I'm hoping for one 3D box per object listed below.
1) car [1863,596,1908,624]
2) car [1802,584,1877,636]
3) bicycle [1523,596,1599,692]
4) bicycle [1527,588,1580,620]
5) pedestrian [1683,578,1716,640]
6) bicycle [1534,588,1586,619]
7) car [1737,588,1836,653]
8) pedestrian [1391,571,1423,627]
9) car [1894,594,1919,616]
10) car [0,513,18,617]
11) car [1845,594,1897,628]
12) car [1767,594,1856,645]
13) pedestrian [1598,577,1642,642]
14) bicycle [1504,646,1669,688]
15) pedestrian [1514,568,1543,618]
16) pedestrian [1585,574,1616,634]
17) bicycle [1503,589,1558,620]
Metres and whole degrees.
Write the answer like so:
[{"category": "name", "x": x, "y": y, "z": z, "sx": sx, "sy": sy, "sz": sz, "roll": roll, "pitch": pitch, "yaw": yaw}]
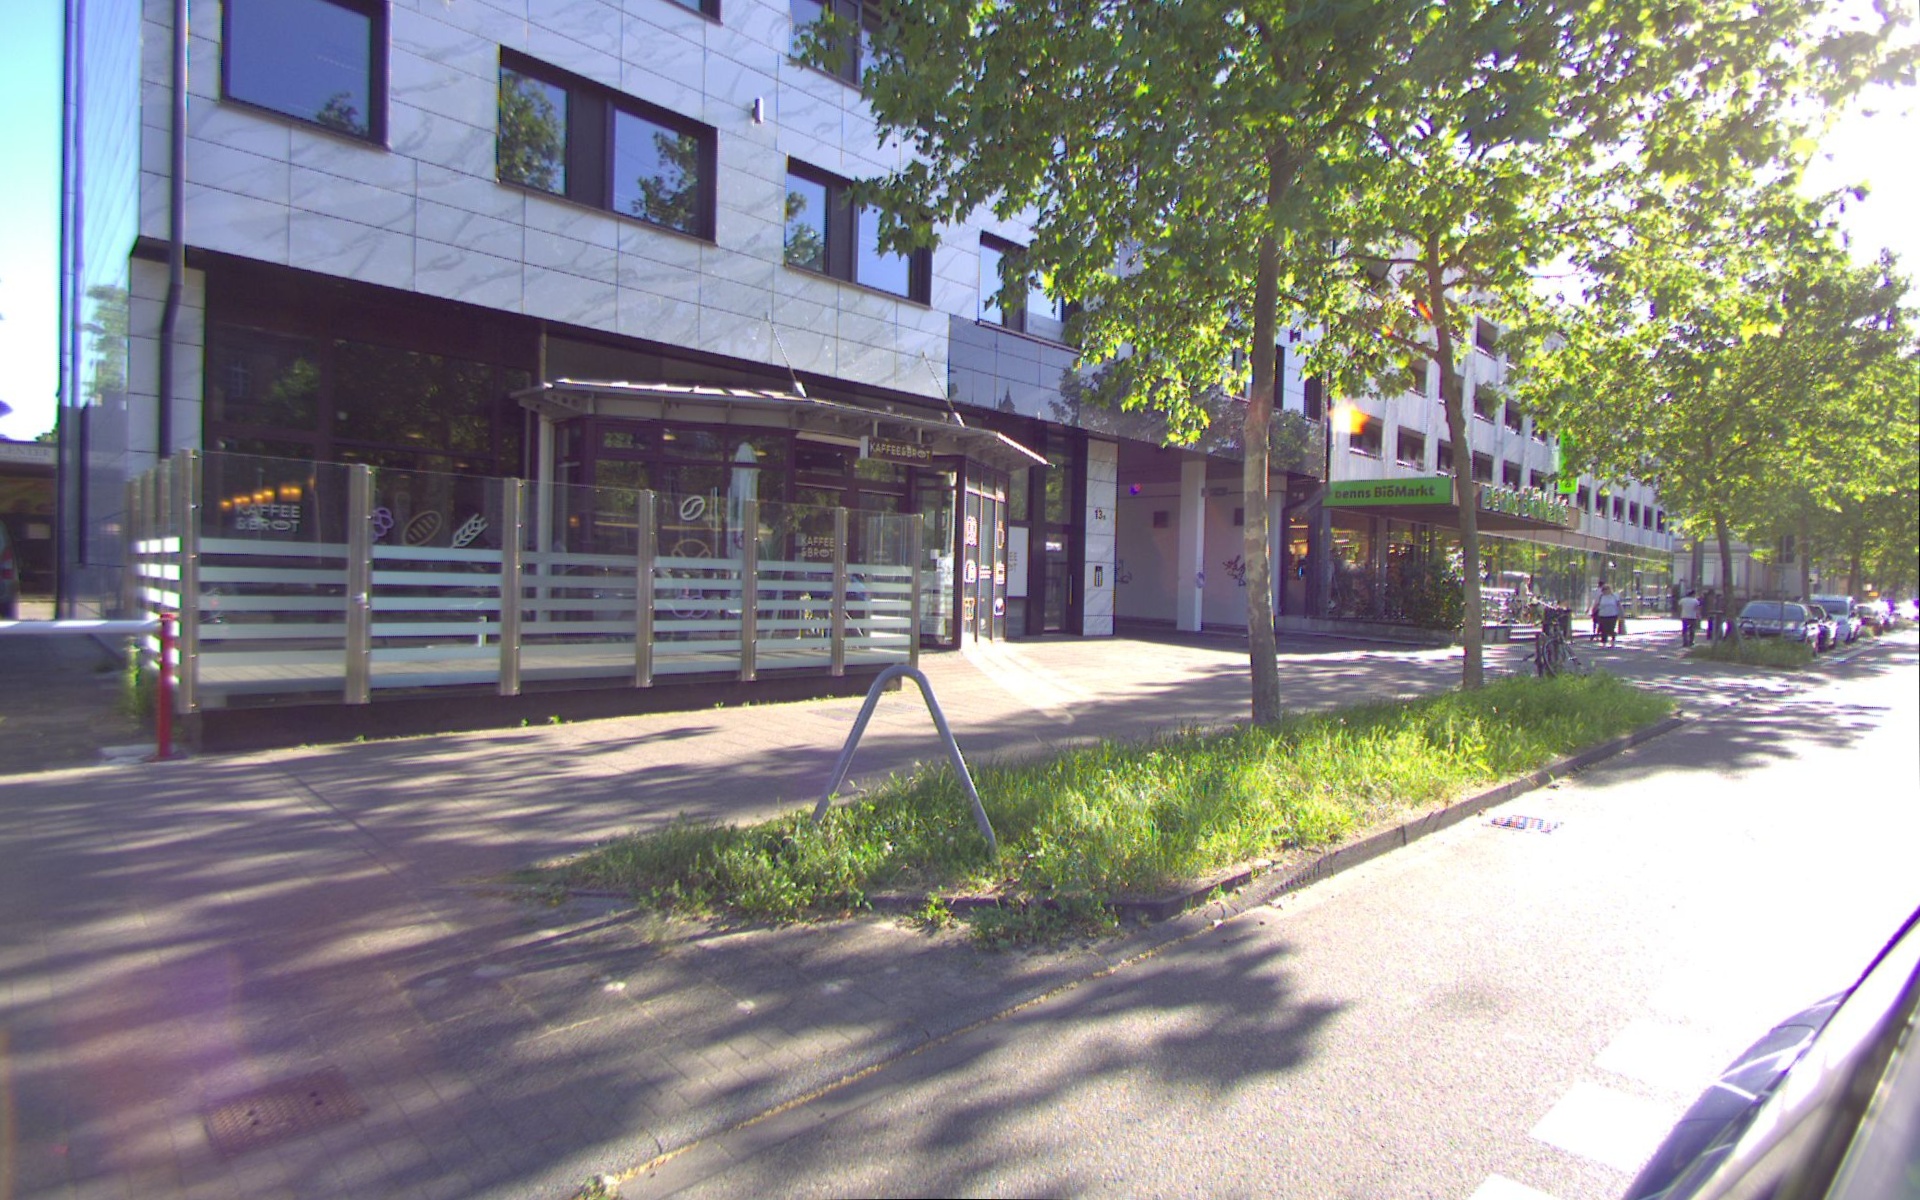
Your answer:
[{"category": "car", "x": 51.562, "y": 0.533, "z": 56.375, "sx": 3.866, "sy": 1.459, "sz": 1.627, "roll": 0, "pitch": 3, "yaw": -45}, {"category": "car", "x": 33.527, "y": 0.372, "z": 38.545, "sx": 4.320, "sy": 1.814, "sz": 1.766, "roll": 0, "pitch": 2, "yaw": -44}, {"category": "bicycle", "x": 8.105, "y": 0.546, "z": 13.619, "sx": 0.785, "sy": 1.147, "sz": 1.824, "roll": 2, "pitch": 2, "yaw": 33}, {"category": "bicycle", "x": 22.617, "y": 0.153, "z": 38.595, "sx": 0.573, "sy": 1.068, "sz": 1.710, "roll": 3, "pitch": 2, "yaw": -17}, {"category": "pedestrian", "x": 21.258, "y": 0.243, "z": 29.095, "sx": 1.035, "sy": 1.725, "sz": 0.560, "roll": 0, "pitch": 2, "yaw": -45}, {"category": "bicycle", "x": 23.278, "y": 0.140, "z": 39.282, "sx": 0.573, "sy": 1.068, "sz": 1.710, "roll": 2, "pitch": 3, "yaw": -17}, {"category": "car", "x": 21.909, "y": 0.488, "z": 26.772, "sx": 3.934, "sy": 1.569, "sz": 1.566, "roll": 0, "pitch": 1, "yaw": -44}, {"category": "pedestrian", "x": 13.927, "y": -0.048, "z": 31.524, "sx": 0.868, "sy": 1.698, "sz": 0.558, "roll": 0, "pitch": 4, "yaw": -45}, {"category": "car", "x": 73.418, "y": 0.381, "z": 78.019, "sx": 4.204, "sy": 1.584, "sz": 1.835, "roll": 0, "pitch": 1, "yaw": -45}, {"category": "car", "x": -17.235, "y": -0.638, "z": 17.351, "sx": 1.568, "sy": 1.692, "sz": 3.614, "roll": 0, "pitch": 2, "yaw": -43}, {"category": "car", "x": 44.364, "y": 0.499, "z": 49.275, "sx": 1.674, "sy": 1.455, "sz": 3.631, "roll": 5, "pitch": 5, "yaw": 44}, {"category": "car", "x": 26.773, "y": 0.558, "z": 31.776, "sx": 1.762, "sy": 1.436, "sz": 4.624, "roll": 1, "pitch": 1, "yaw": 45}, {"category": "pedestrian", "x": 17.473, "y": 0.241, "z": 26.795, "sx": 0.853, "sy": 1.632, "sz": 0.699, "roll": 0, "pitch": 3, "yaw": -42}, {"category": "bicycle", "x": 8.429, "y": 0.884, "z": 13.628, "sx": 1.366, "sy": 0.357, "sz": 1.610, "roll": 0, "pitch": 2, "yaw": -44}, {"category": "pedestrian", "x": 20.601, "y": -0.269, "z": 36.699, "sx": 0.607, "sy": 1.735, "sz": 0.609, "roll": 8, "pitch": 4, "yaw": 21}, {"category": "pedestrian", "x": 19.414, "y": 0.112, "z": 30.692, "sx": 0.864, "sy": 1.766, "sz": 0.560, "roll": 0, "pitch": 2, "yaw": -45}, {"category": "bicycle", "x": 20.048, "y": 0.158, "z": 35.598, "sx": 0.573, "sy": 0.927, "sz": 1.656, "roll": 5, "pitch": 2, "yaw": -17}]
